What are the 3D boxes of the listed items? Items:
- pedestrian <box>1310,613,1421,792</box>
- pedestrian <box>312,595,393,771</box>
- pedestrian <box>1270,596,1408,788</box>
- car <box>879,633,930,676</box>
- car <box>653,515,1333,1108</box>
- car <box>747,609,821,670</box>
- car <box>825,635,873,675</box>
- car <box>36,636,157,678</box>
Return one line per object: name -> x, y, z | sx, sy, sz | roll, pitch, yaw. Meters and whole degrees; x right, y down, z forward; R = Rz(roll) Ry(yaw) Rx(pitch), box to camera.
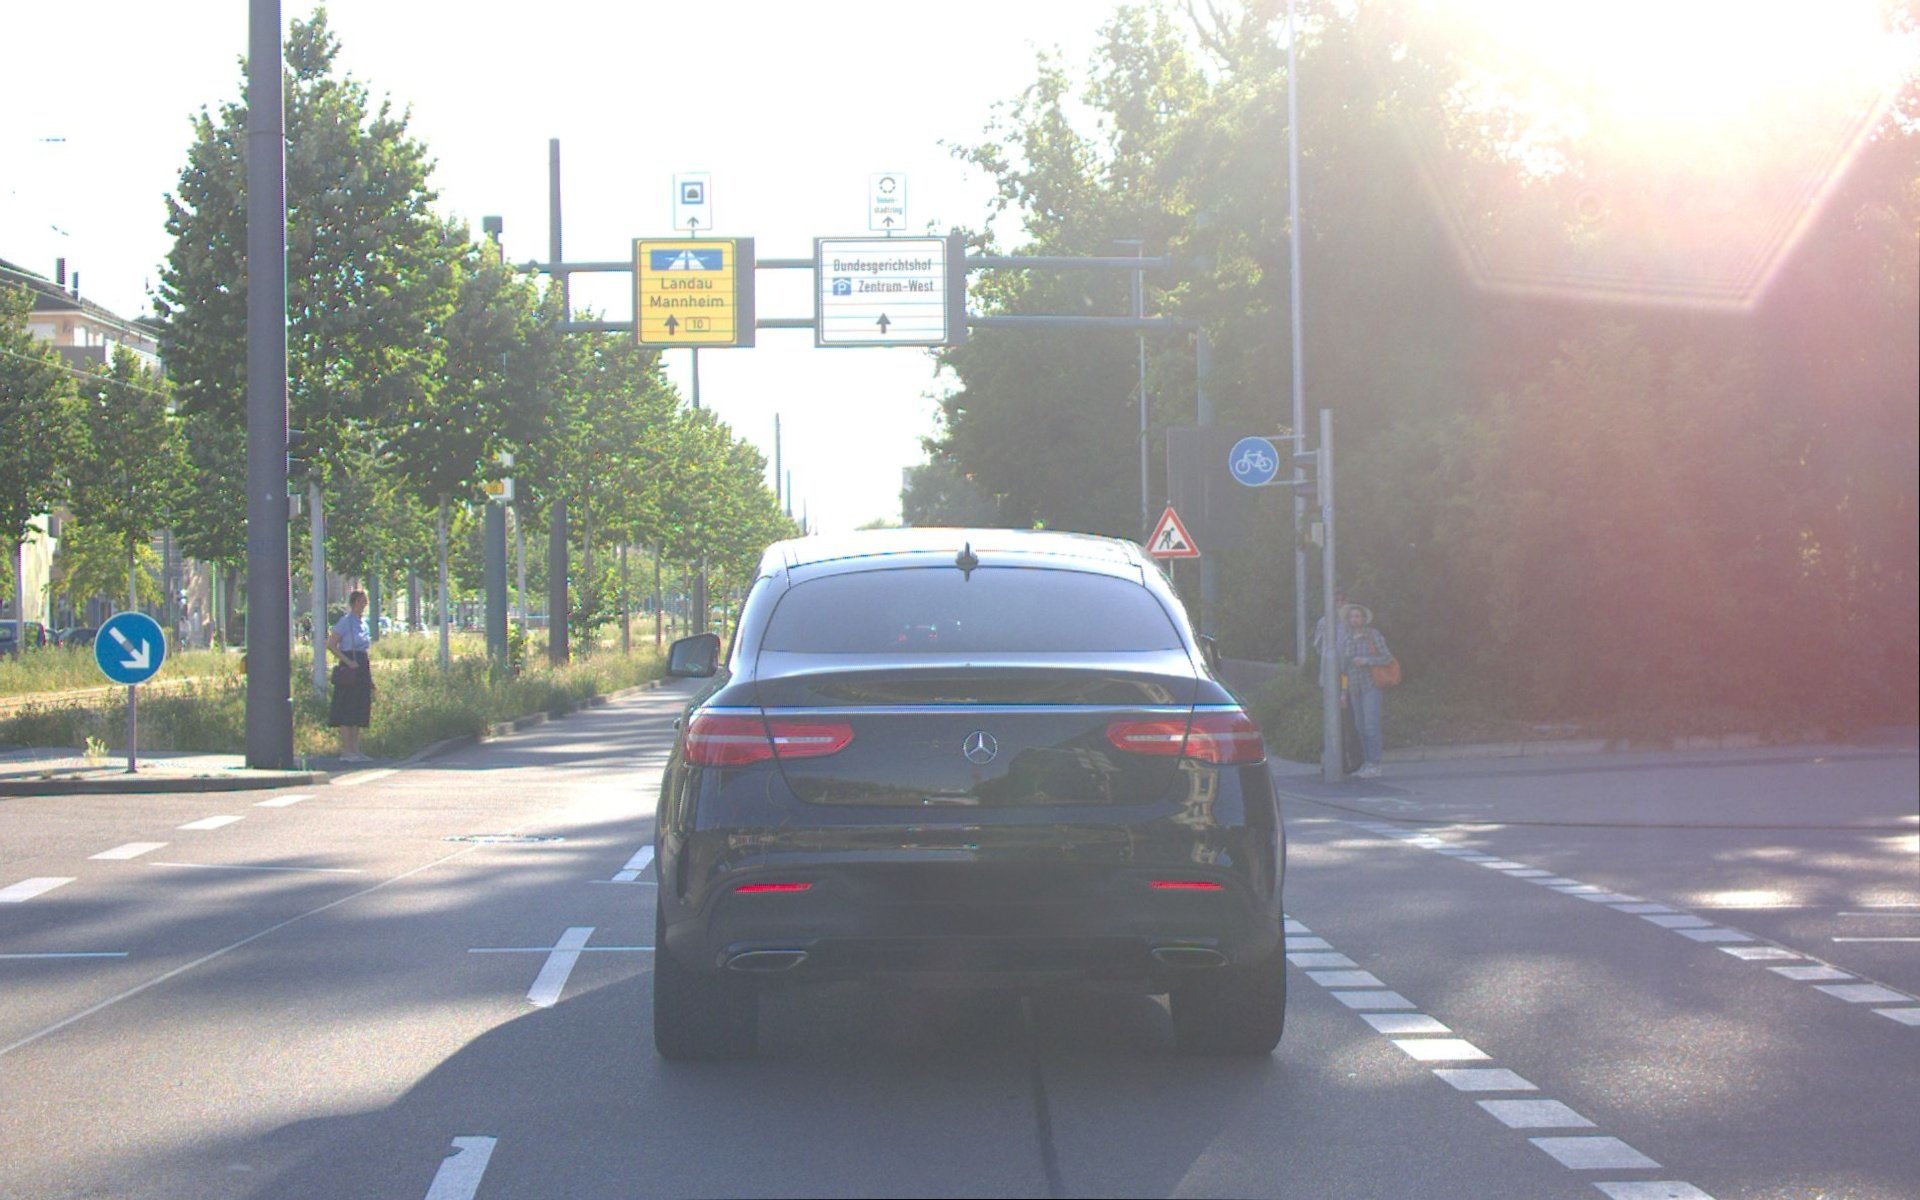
pedestrian -> 3.812, 0.960, 32.363 | 0.766, 1.631, 0.770 | -3, -1, -10
pedestrian -> -5.939, 0.808, 33.621 | 0.598, 1.693, 0.714 | -1, -1, 4
pedestrian -> 3.654, 0.886, 33.179 | 0.857, 1.796, 0.907 | -2, -1, -35
car -> -2.136, 2.083, 131.959 | 1.885, 1.575, 4.000 | 0, 0, -2
car -> -0.015, 0.637, 12.081 | 1.993, 1.728, 4.000 | 0, -1, -3
car -> -4.685, 1.035, 91.852 | 1.885, 1.575, 4.000 | 0, 0, -2
car -> -4.480, 2.211, 138.807 | 1.885, 1.575, 4.000 | 0, 0, -2
car -> -33.097, 2.188, 131.798 | 3.989, 1.558, 1.999 | 1, -1, -42
